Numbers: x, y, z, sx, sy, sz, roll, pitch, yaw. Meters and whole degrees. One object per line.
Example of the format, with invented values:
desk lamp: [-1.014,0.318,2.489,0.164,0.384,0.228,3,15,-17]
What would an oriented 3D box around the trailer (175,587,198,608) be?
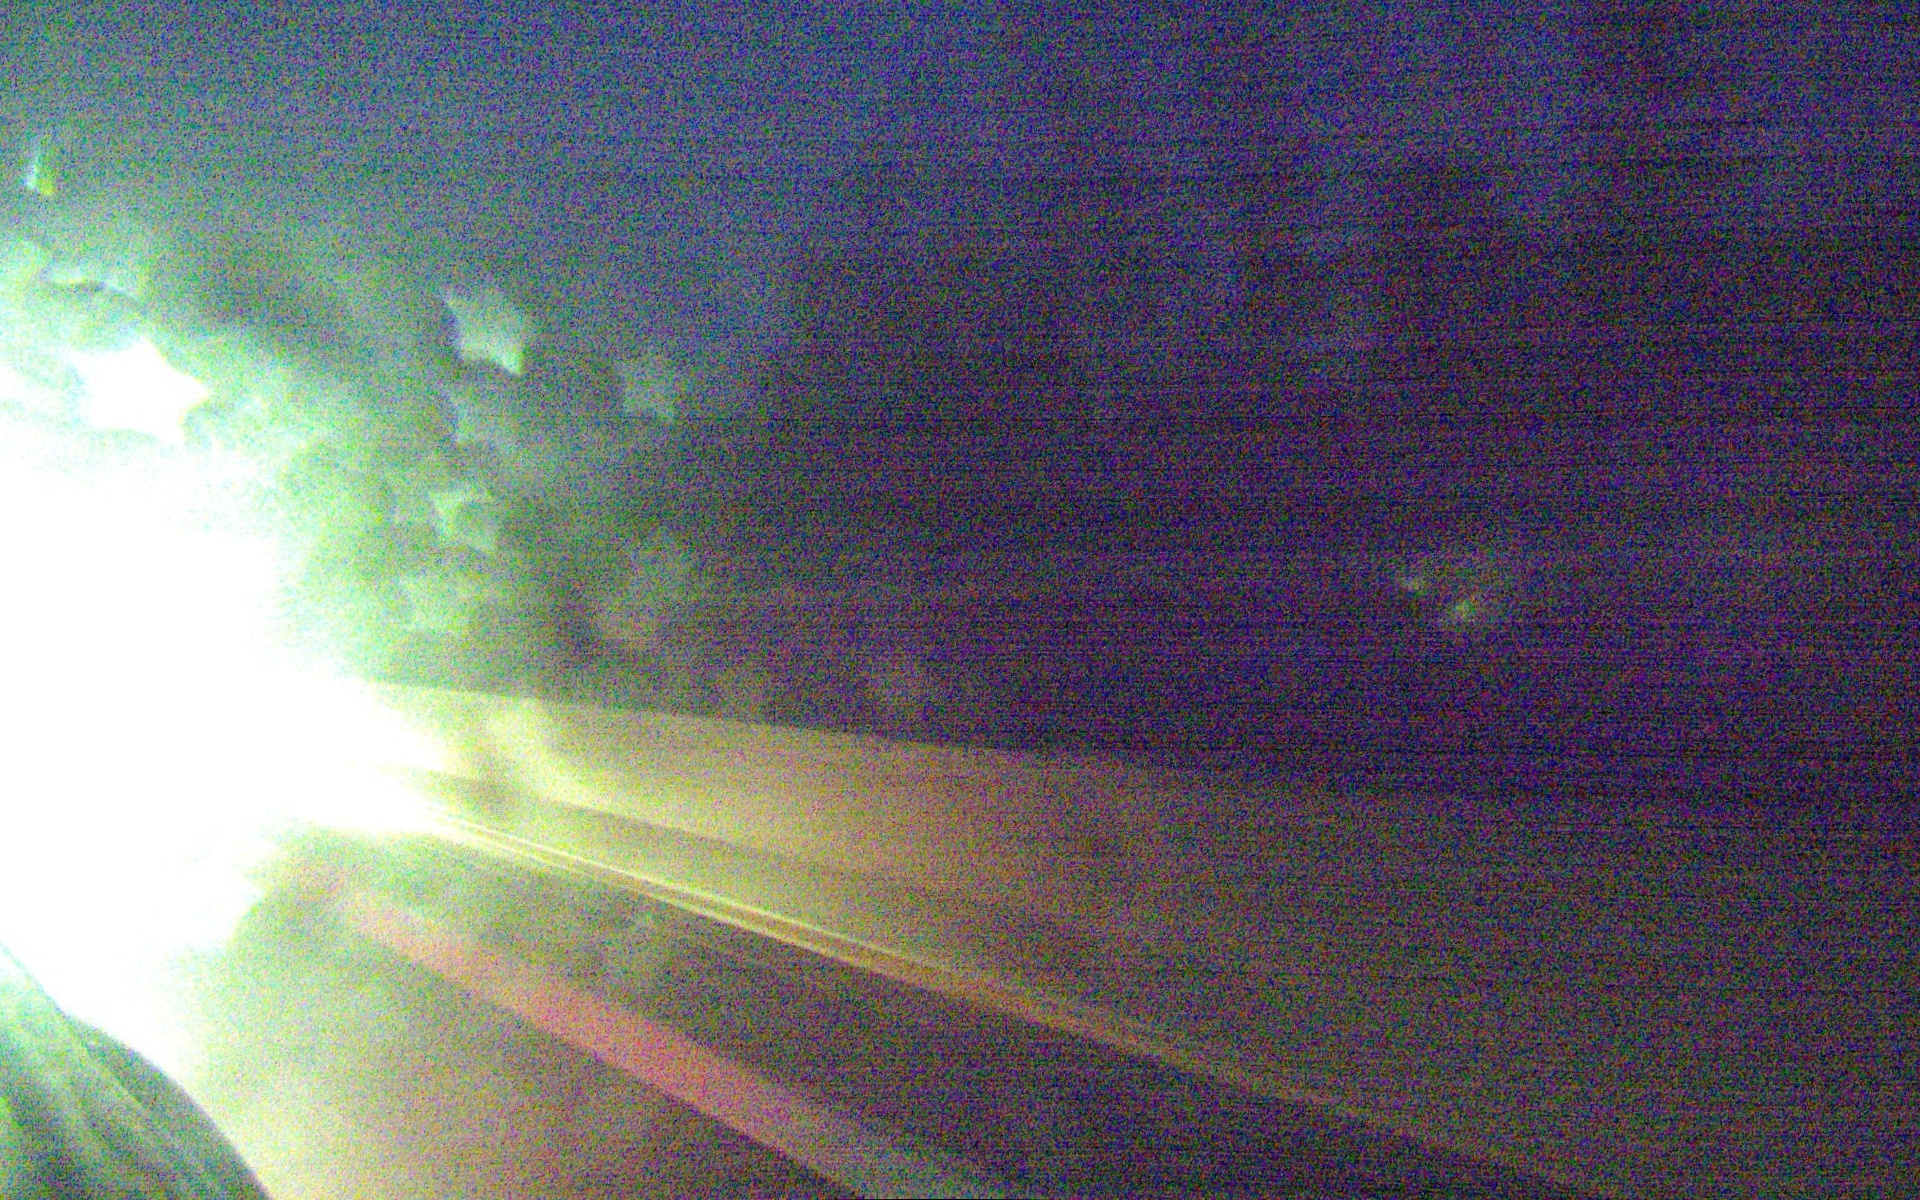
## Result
trailer: [-152.067,-0.502,198.870,2.893,3.776,9.515,-6,3,-40]
